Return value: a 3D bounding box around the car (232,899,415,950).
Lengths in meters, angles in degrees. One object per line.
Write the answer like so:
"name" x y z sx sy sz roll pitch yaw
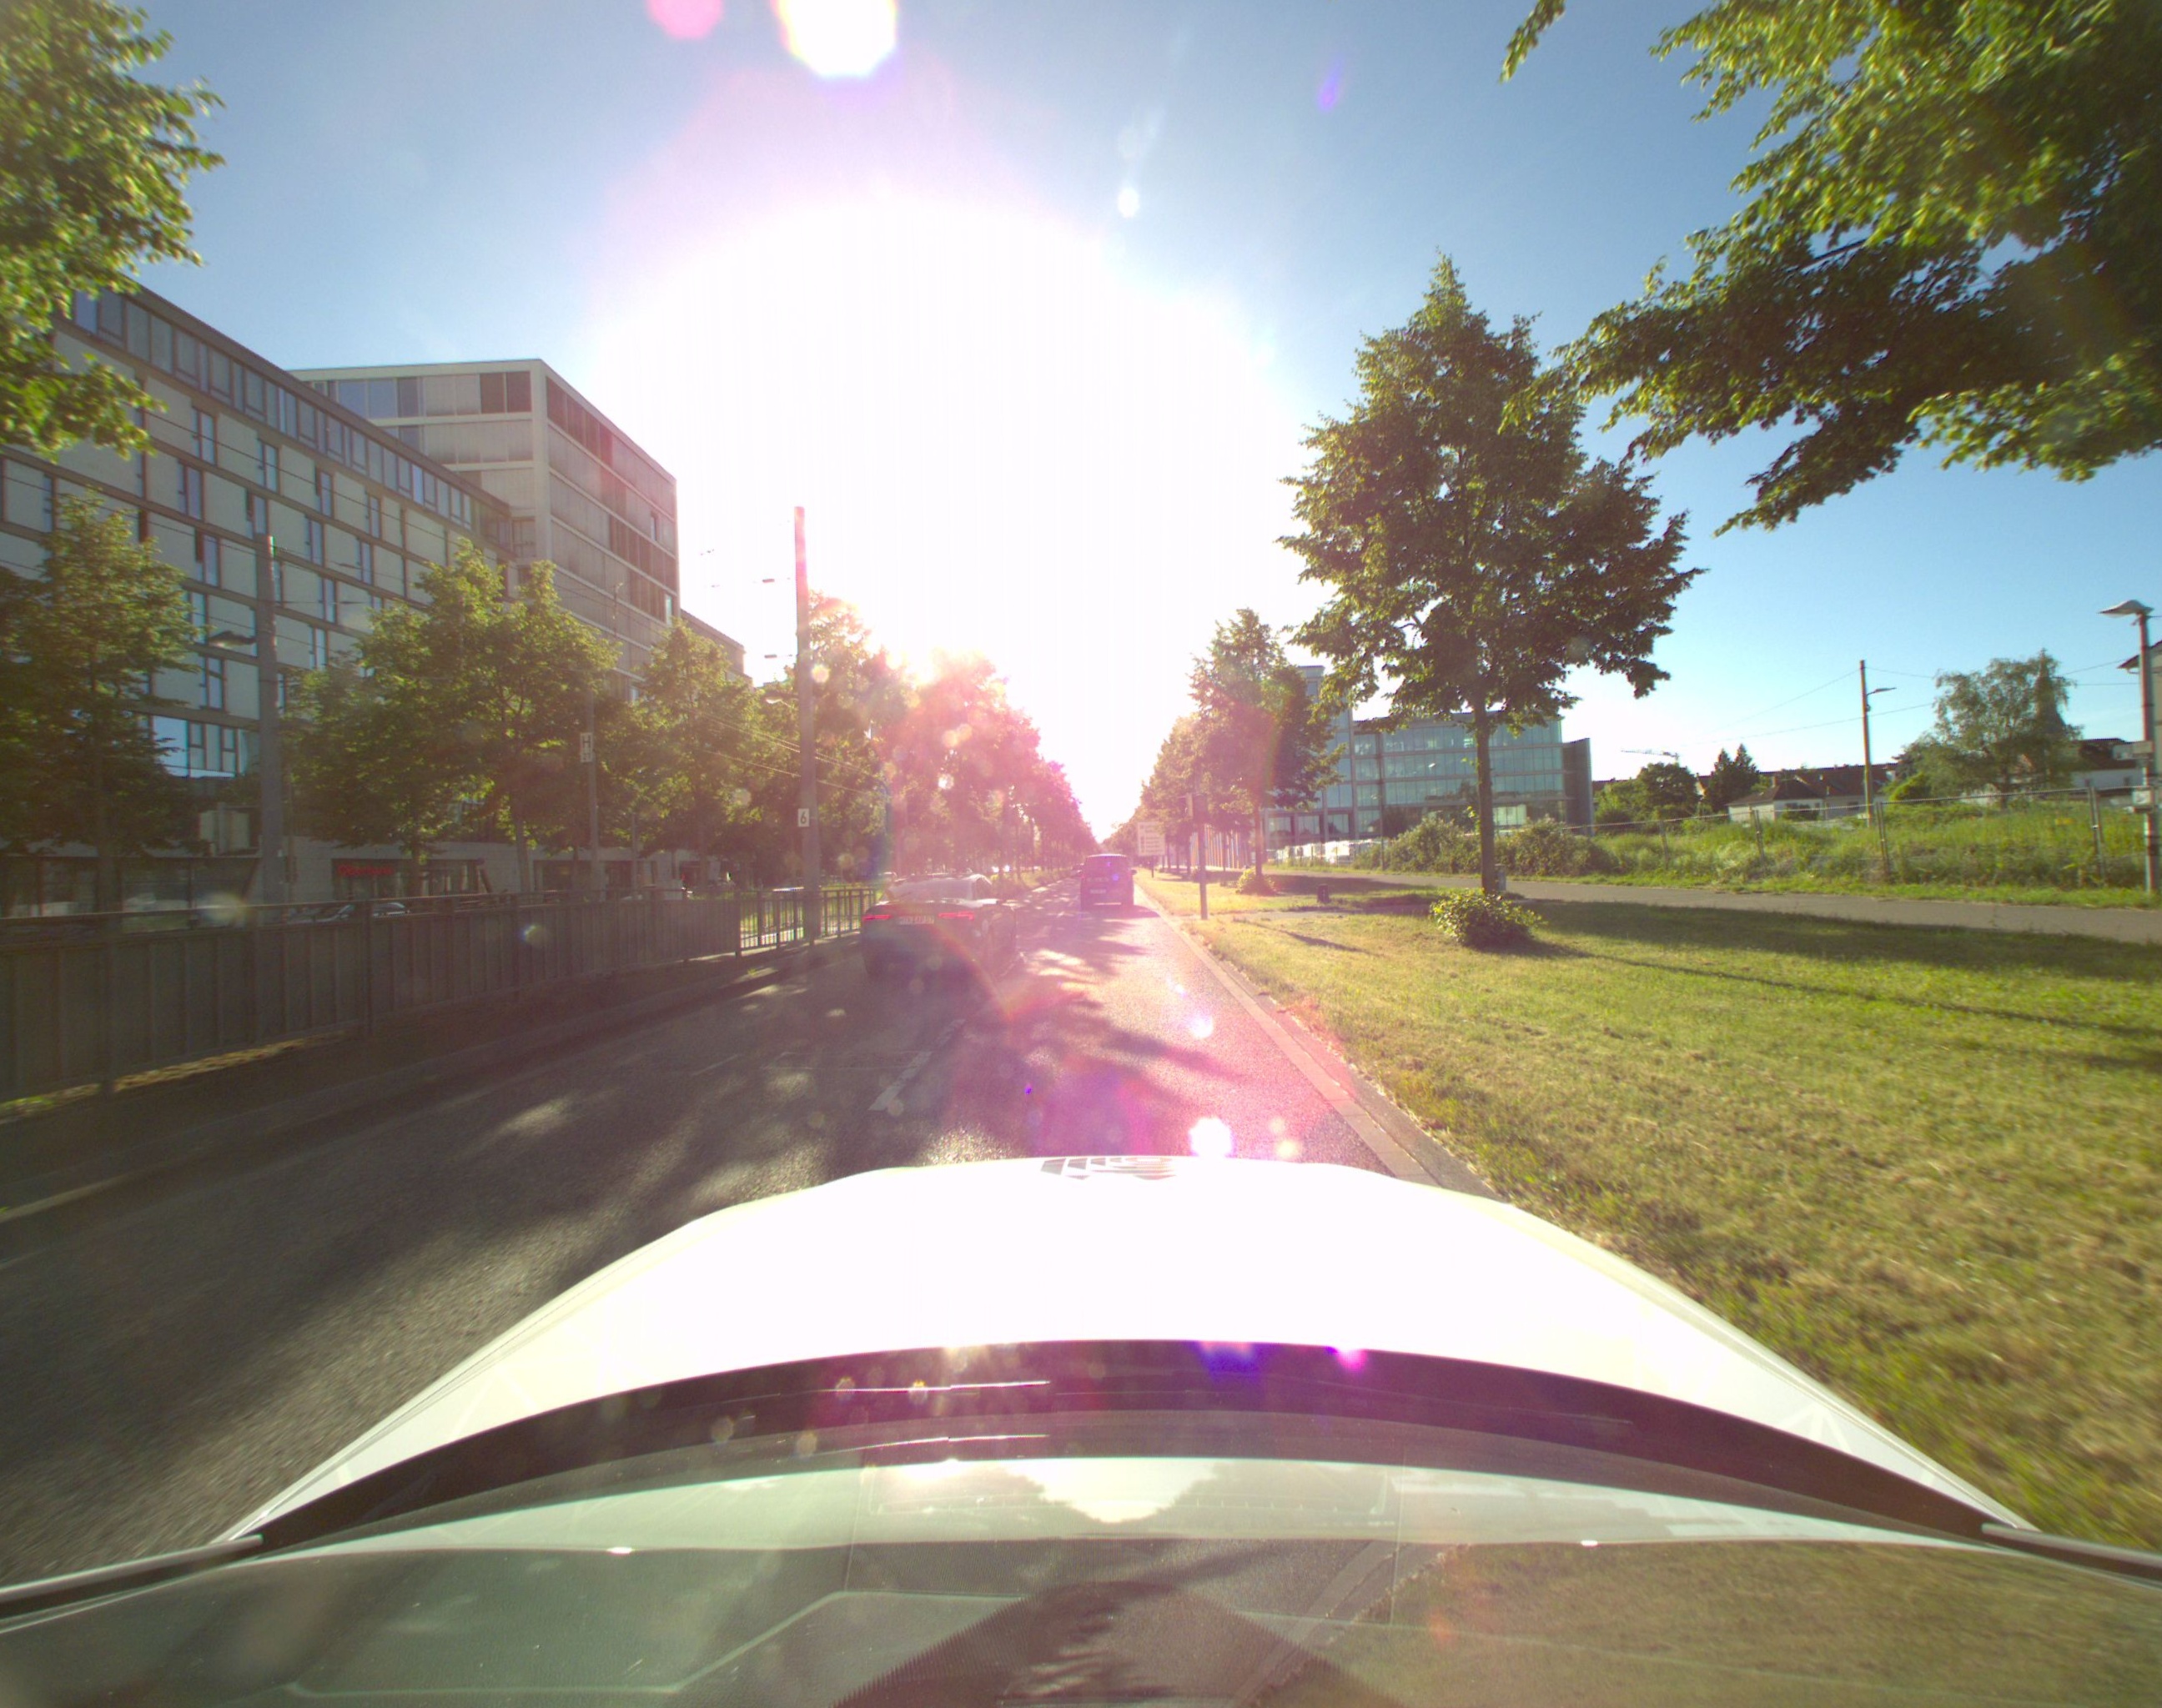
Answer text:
"car" -24.299 2.215 26.380 1.753 1.404 4.334 -2 -3 2

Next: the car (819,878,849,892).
"car" -27.829 3.524 91.814 1.708 1.420 4.547 -2 -1 2

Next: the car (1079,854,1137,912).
"car" 0.897 0.951 27.996 1.791 1.777 4.000 -2 -1 1

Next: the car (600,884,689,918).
"car" -21.407 2.261 40.151 1.811 1.403 4.510 -3 -1 2

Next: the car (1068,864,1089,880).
"car" -0.234 1.754 78.723 1.936 1.441 3.999 -3 -1 0

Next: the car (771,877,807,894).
"car" -28.735 3.104 80.301 1.708 1.420 4.547 -3 -1 2

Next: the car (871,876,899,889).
"car" -19.919 2.886 82.730 1.761 1.238 3.487 -3 -1 3

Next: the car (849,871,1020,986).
"car" -2.044 1.005 12.520 1.714 1.366 4.148 -1 0 2

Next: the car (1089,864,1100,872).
"car" 2.641 2.687 159.664 1.835 1.534 3.943 -3 -1 3

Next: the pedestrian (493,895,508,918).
"pedestrian" -35.970 3.231 50.481 0.406 1.413 0.690 -2 -3 2

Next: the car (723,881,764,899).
"car" -28.680 3.059 69.289 1.727 1.354 3.755 -3 -1 2

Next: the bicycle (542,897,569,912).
"bicycle" -36.387 3.471 56.458 0.539 0.972 1.983 -2 -3 2

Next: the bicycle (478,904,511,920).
"bicycle" -36.437 3.583 50.642 0.539 0.881 2.015 -2 -2 2
